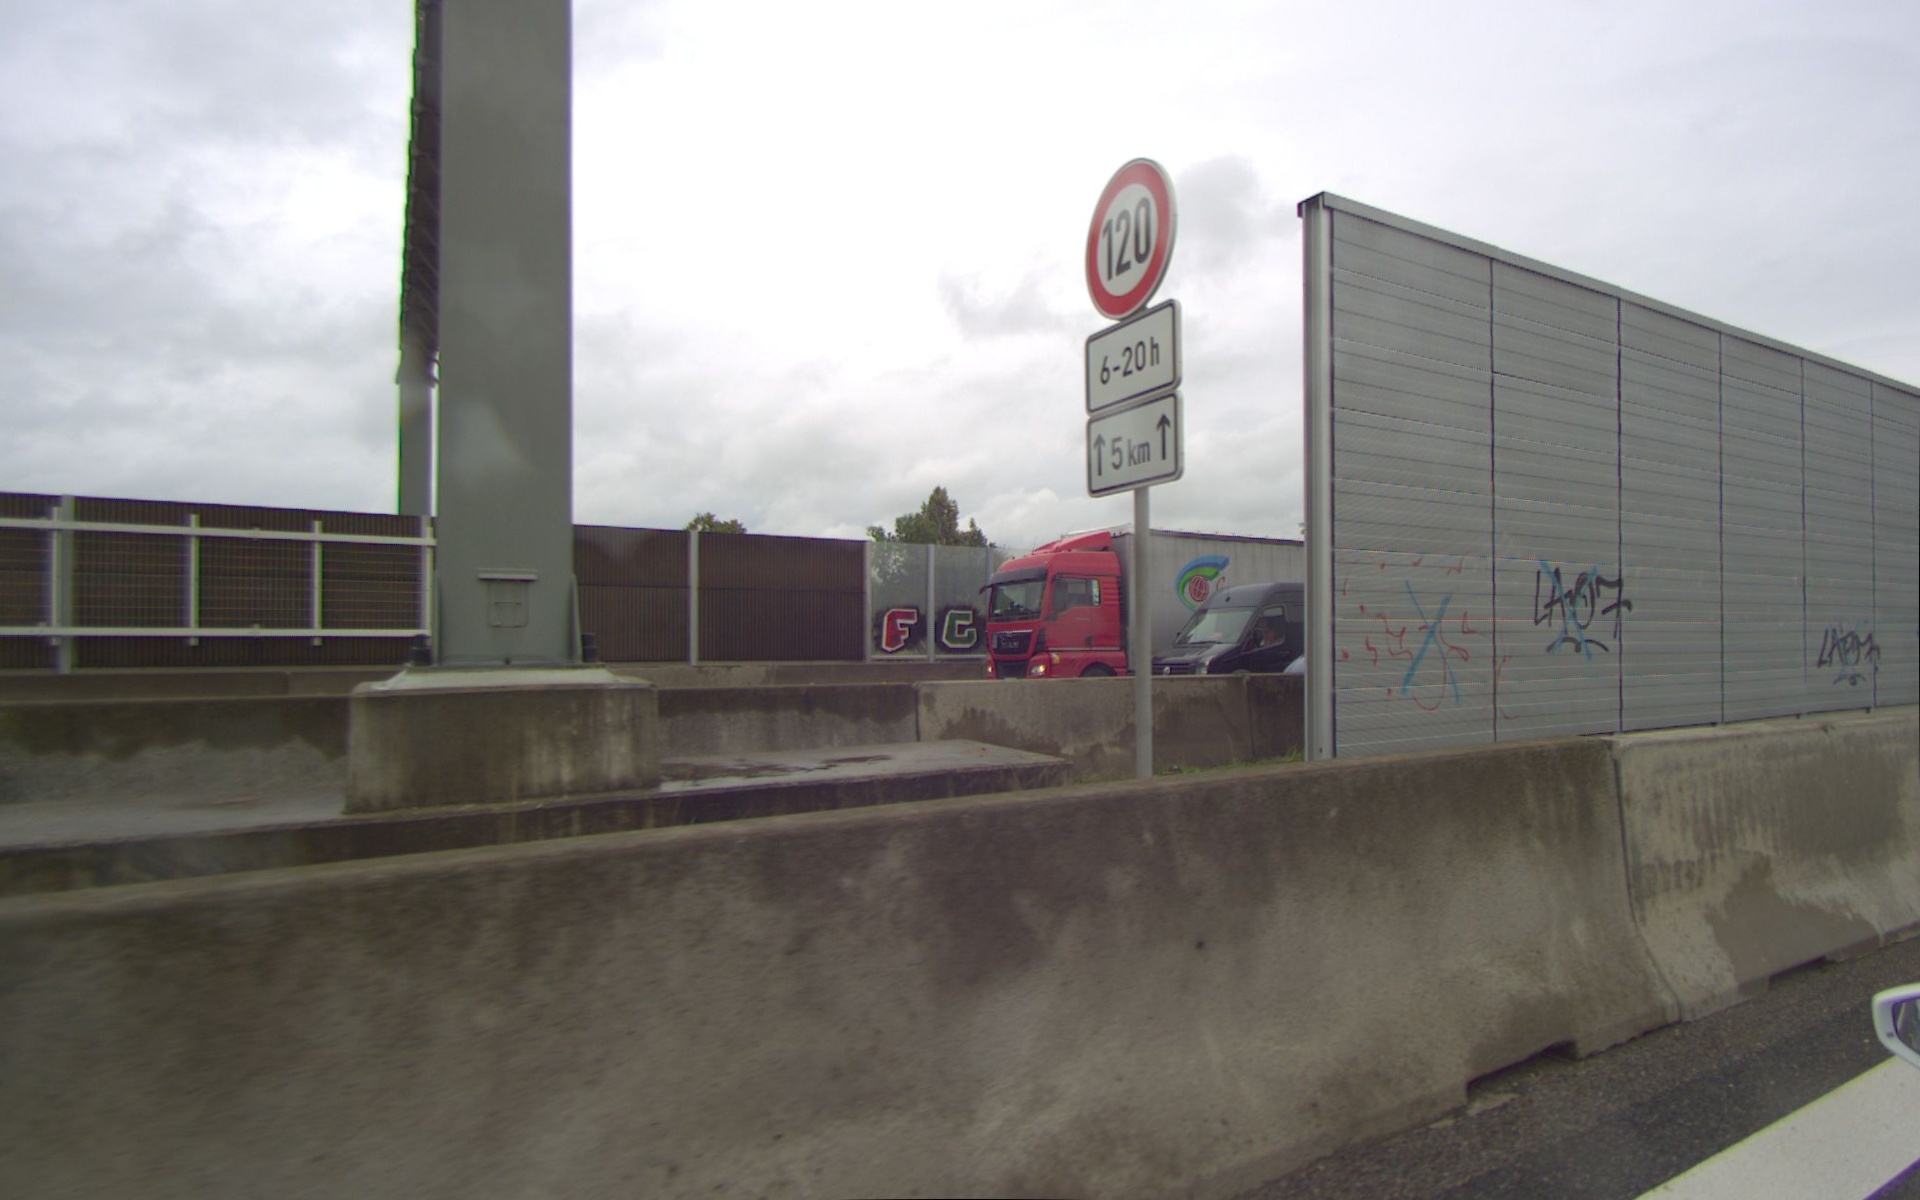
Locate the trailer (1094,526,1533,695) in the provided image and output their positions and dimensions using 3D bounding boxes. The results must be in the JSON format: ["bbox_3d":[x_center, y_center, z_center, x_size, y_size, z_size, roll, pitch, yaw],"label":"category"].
[{"bbox_3d":[10.150,0.376,27.347,14.144,3.778,2.969,1,0,-31],"label":"trailer"}]

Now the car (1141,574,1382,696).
[{"bbox_3d":[5.909,0.664,19.559,4.478,2.141,1.984,2,-1,-31],"label":"car"}]

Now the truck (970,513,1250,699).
[{"bbox_3d":[3.508,0.176,23.281,5.849,3.803,2.969,1,0,-31],"label":"truck"}]
